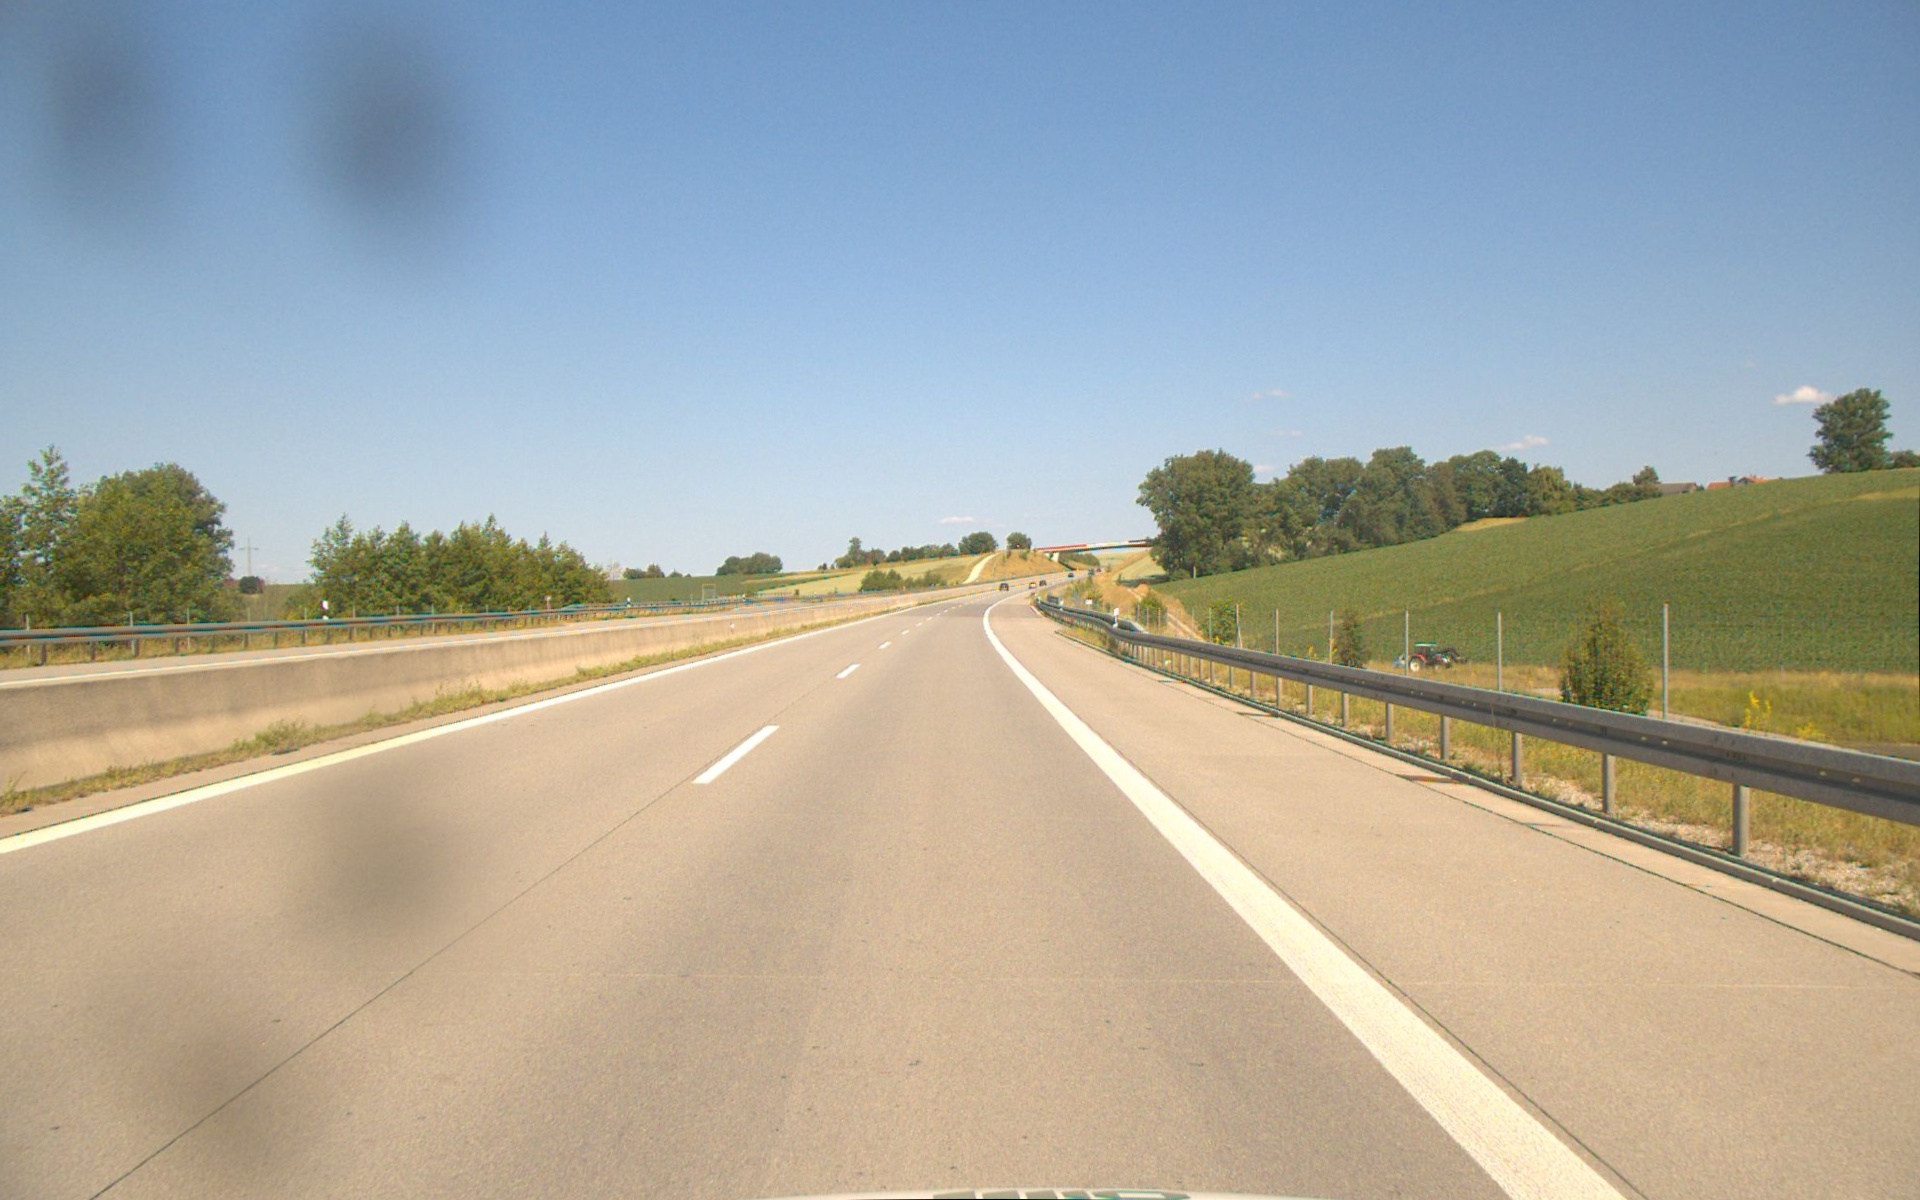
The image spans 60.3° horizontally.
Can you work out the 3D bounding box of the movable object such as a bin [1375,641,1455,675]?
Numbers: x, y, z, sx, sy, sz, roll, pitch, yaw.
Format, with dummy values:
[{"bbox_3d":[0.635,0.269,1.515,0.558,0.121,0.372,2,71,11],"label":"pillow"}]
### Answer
[{"bbox_3d":[40.702,5.149,147.962,6.119,2.819,3.267,0,-1,41],"label":"movable object such as a bin"}]
